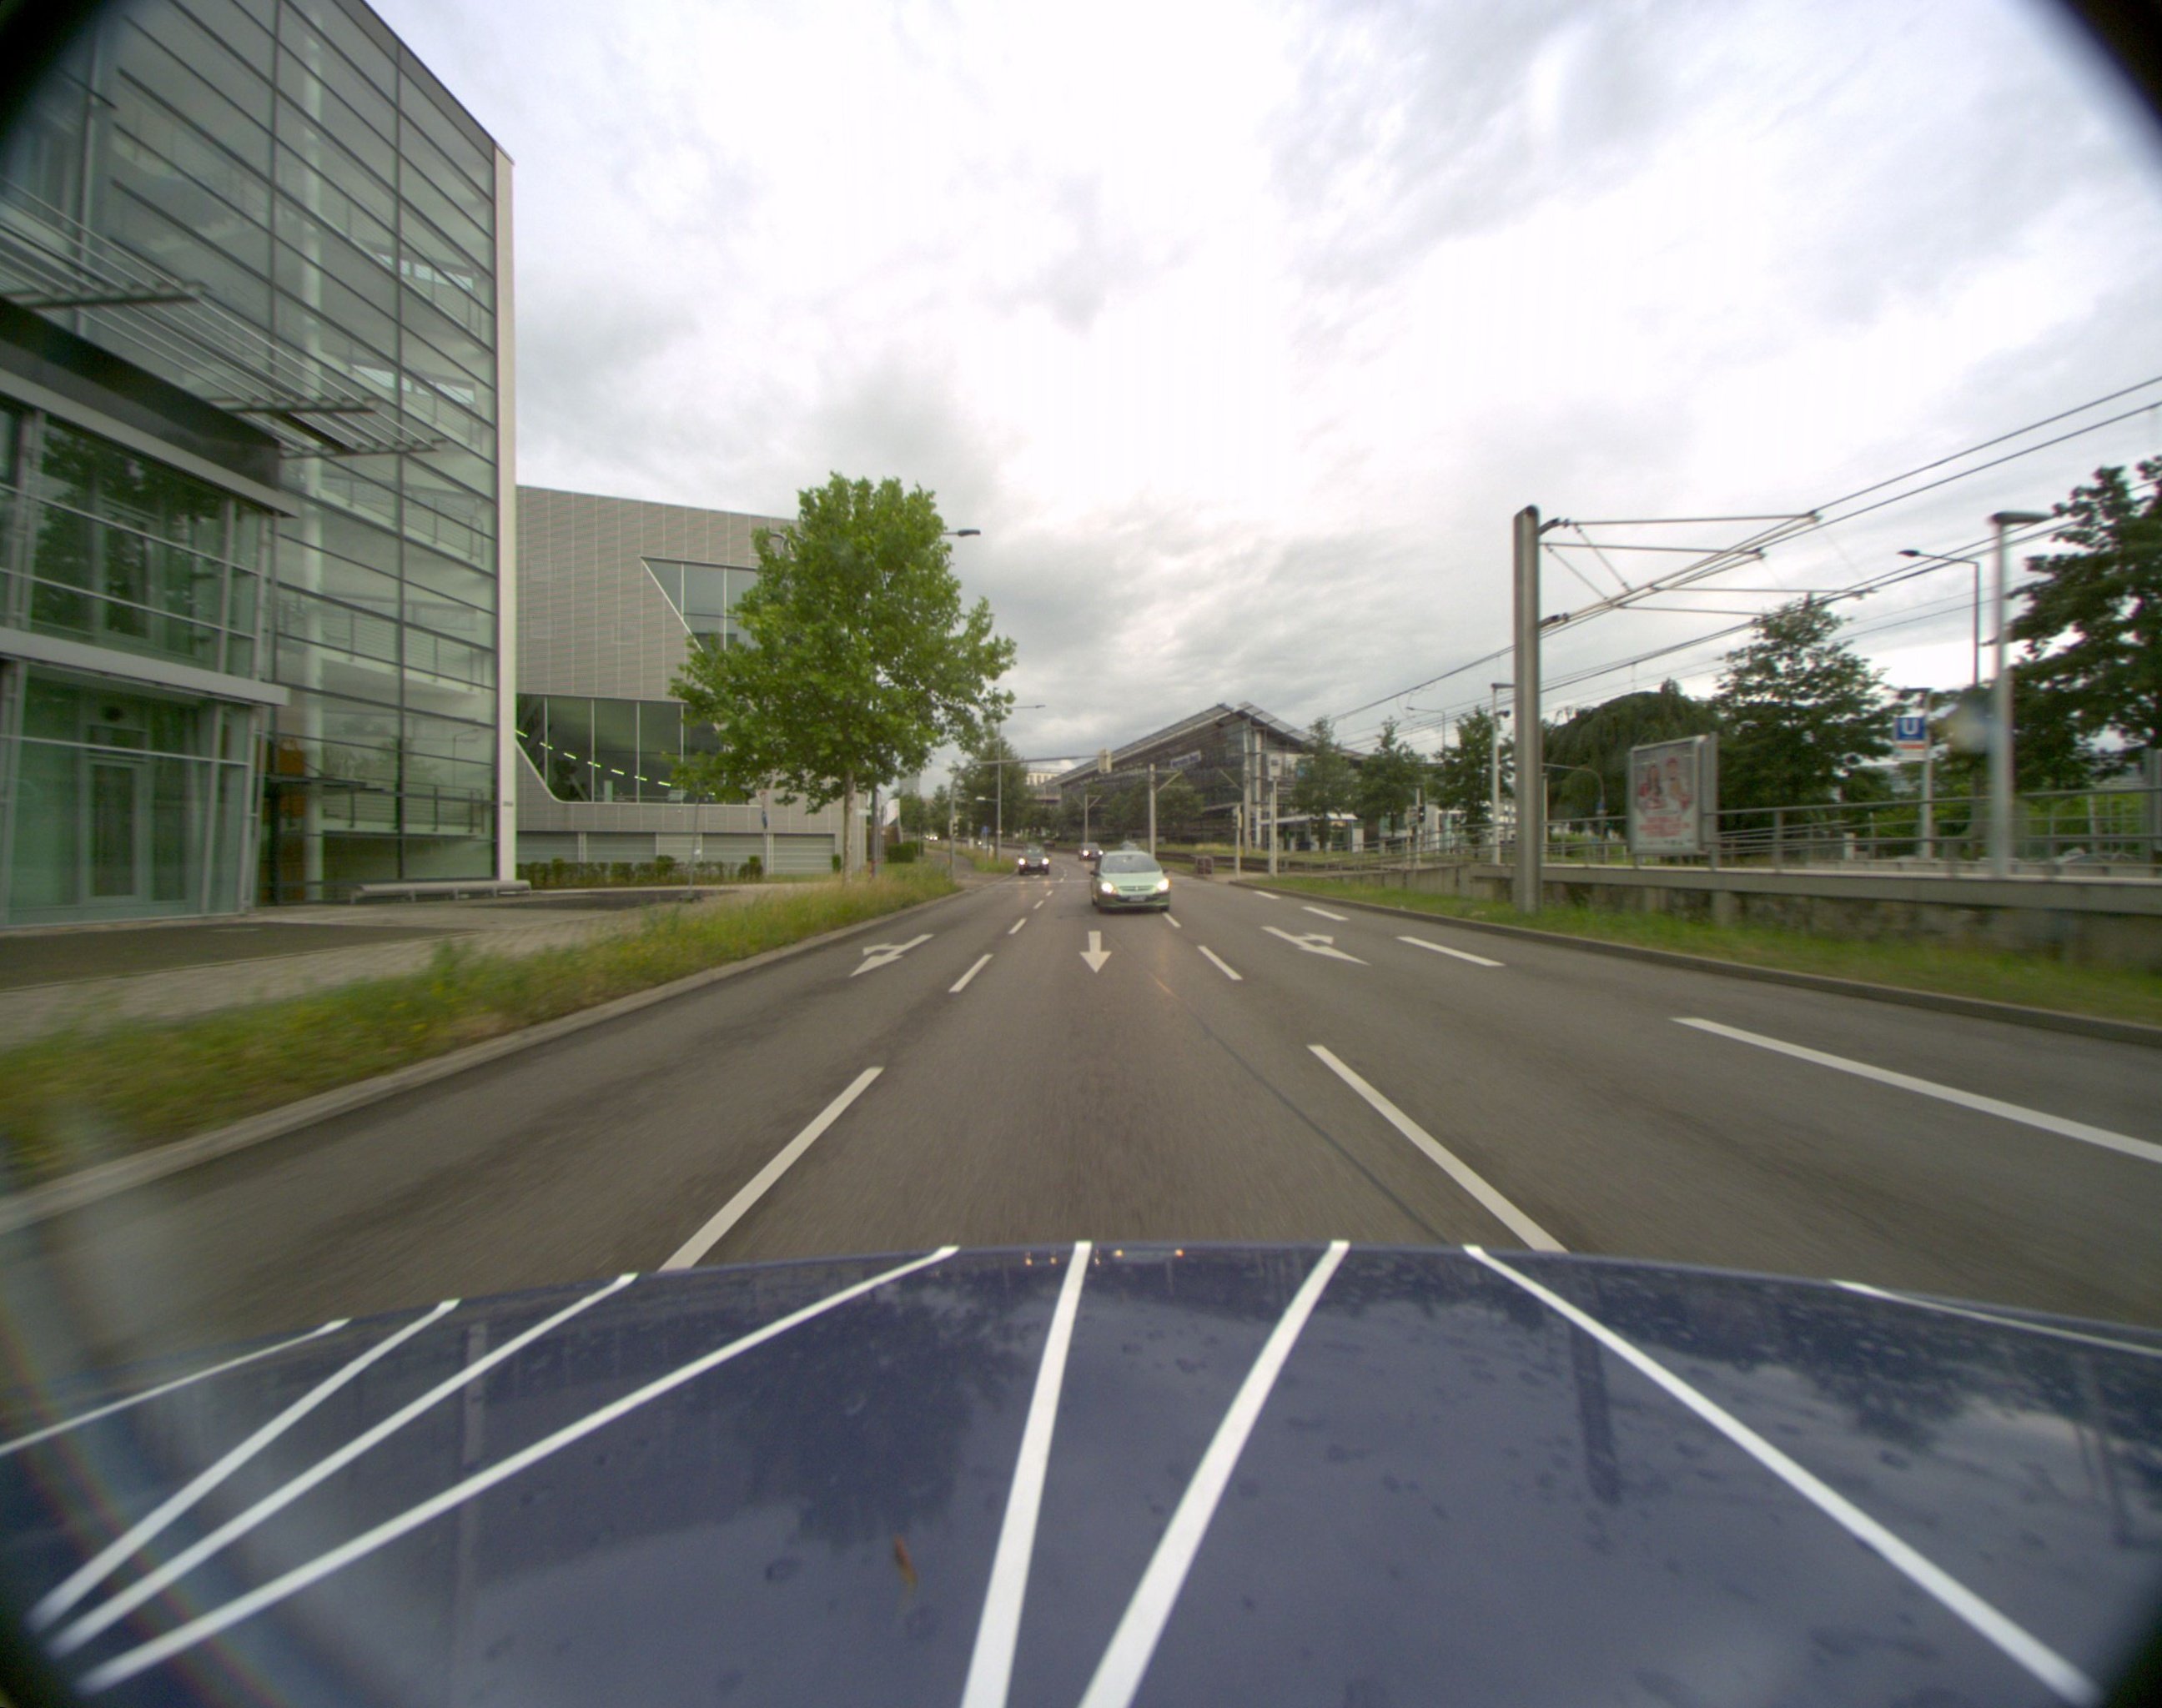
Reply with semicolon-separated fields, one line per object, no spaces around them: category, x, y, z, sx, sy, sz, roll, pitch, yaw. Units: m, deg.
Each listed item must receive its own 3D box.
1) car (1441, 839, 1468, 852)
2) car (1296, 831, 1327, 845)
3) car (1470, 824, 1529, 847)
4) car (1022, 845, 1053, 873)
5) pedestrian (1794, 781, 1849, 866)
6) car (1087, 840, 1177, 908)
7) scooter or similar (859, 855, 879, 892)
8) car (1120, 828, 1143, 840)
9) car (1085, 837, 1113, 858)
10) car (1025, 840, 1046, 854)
car;53.284;-1.253;108.523;1.782;1.701;3.744;-2;3;-5
car;33.558;-2.351;110.591;1.898;1.841;3.987;-5;5;-43
car;33.127;-1.498;60.239;2.000;1.642;3.993;-2;4;-11
car;-2.687;0.285;47.027;1.829;1.599;4.112;-1;1;-3
pedestrian;17.350;-0.721;17.807;0.550;1.942;0.663;-2;4;-8
car;1.198;0.415;19.563;1.829;1.500;4.111;-1;2;-3
scooter or similar;-7.550;0.673;27.091;0.459;1.256;1.336;2;2;-7
car;7.769;-3.052;117.264;2.002;1.670;3.992;-2;2;-21
car;1.542;-0.587;67.591;1.862;1.799;4.110;-2;1;-8
car;-5.535;-0.874;92.407;1.863;1.673;4.108;0;1;-13
